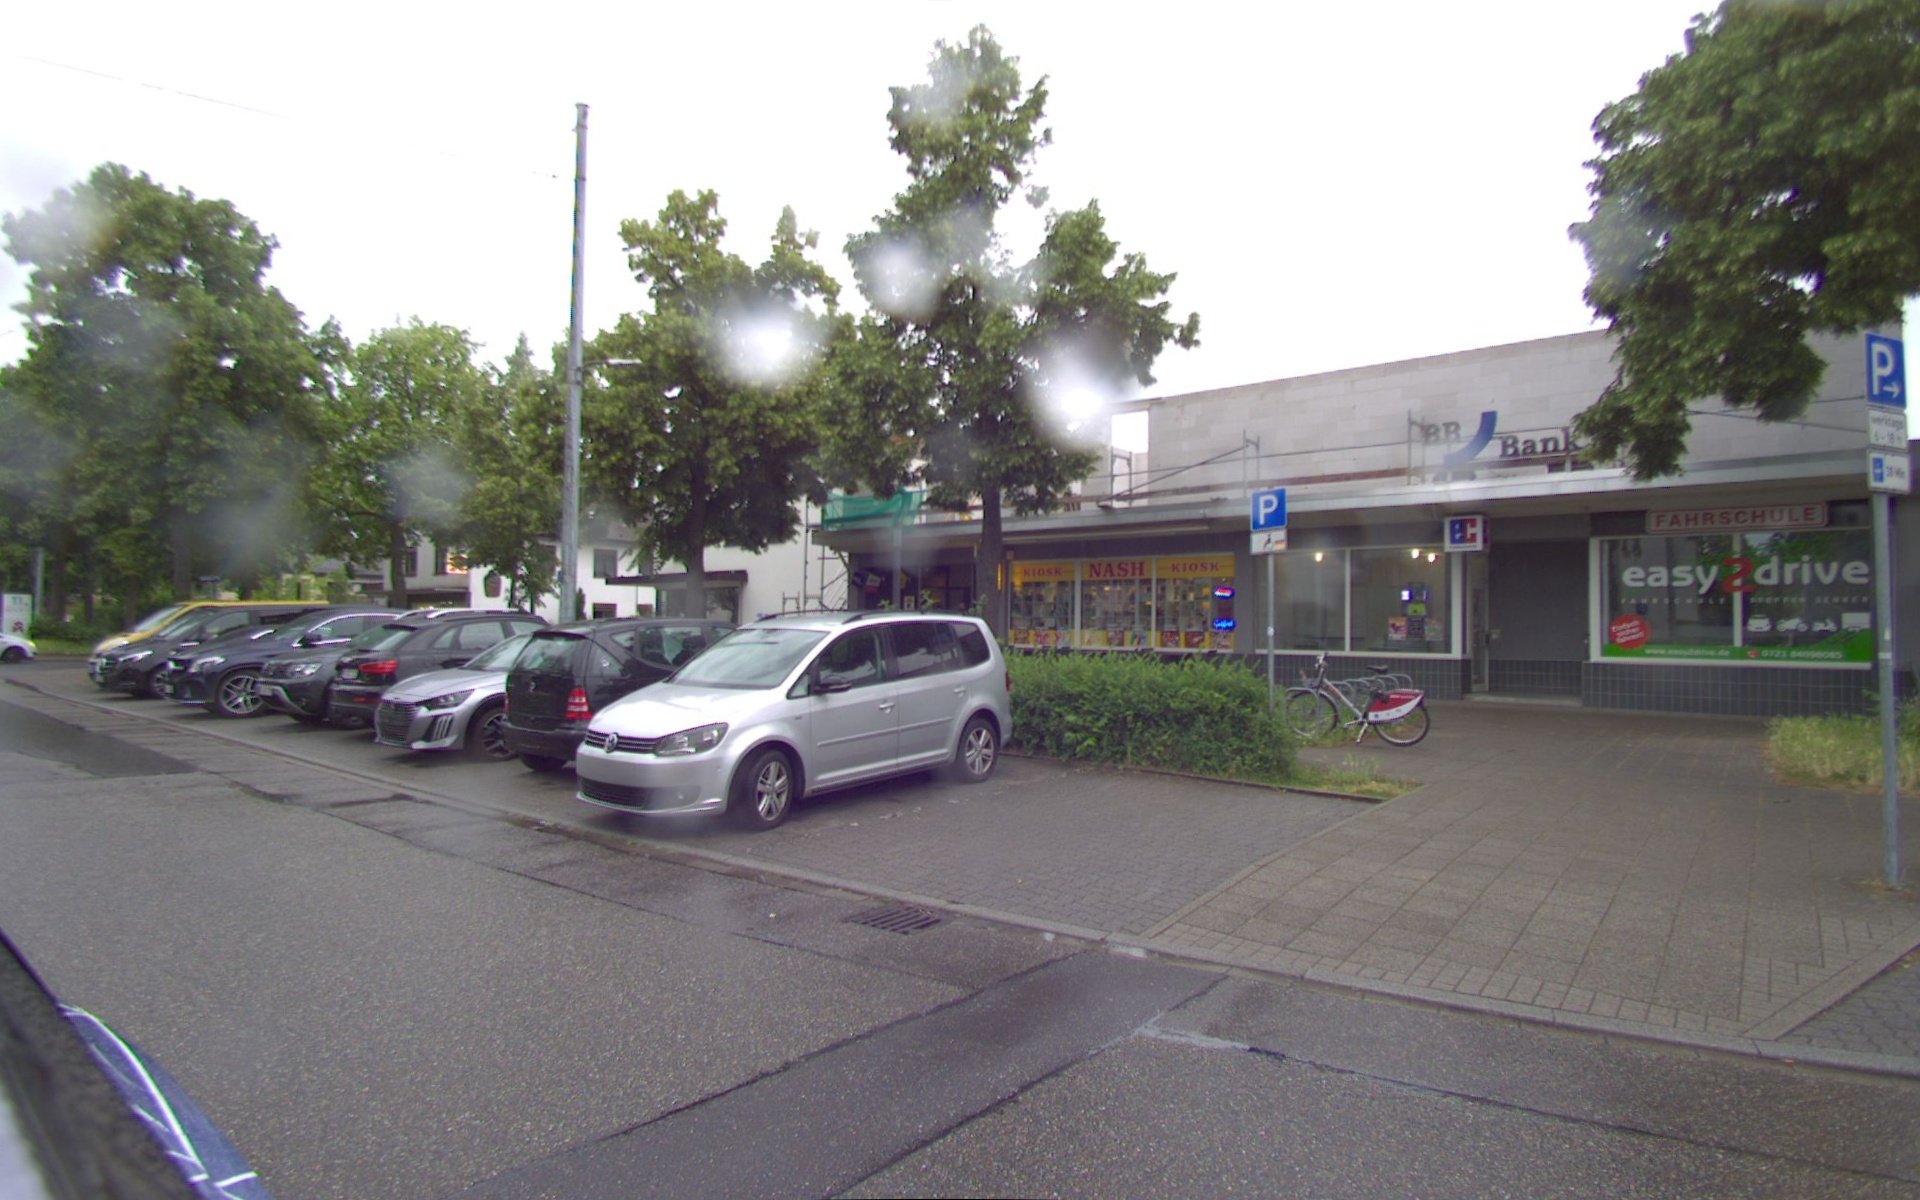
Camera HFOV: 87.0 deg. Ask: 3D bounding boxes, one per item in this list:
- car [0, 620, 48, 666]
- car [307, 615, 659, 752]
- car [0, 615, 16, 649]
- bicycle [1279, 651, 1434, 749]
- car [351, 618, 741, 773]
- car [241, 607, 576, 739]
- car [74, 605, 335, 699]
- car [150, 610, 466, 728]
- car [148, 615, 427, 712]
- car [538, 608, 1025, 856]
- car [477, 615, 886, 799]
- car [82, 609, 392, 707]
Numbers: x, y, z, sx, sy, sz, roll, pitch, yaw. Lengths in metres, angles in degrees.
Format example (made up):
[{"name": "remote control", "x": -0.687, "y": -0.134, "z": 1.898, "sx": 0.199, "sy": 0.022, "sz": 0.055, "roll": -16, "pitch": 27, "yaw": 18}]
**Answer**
[{"name": "car", "x": -32.742, "y": 1.438, "z": 32.865, "sx": 1.989, "sy": 1.465, "sz": 4.220, "roll": -1, "pitch": 0, "yaw": 26}, {"name": "car", "x": -6.565, "y": 1.028, "z": 14.351, "sx": 1.713, "sy": 1.607, "sz": 4.231, "roll": -1, "pitch": -1, "yaw": 38}, {"name": "car", "x": -49.754, "y": 1.651, "z": 50.271, "sx": 1.997, "sy": 1.698, "sz": 3.950, "roll": -1, "pitch": 0, "yaw": 37}, {"name": "bicycle", "x": 4.818, "y": 1.197, "z": 12.349, "sx": 1.739, "sy": 1.115, "sz": 0.316, "roll": -1, "pitch": 0, "yaw": 25}, {"name": "car", "x": -4.940, "y": 1.020, "z": 12.614, "sx": 1.713, "sy": 1.544, "sz": 4.231, "roll": -1, "pitch": -1, "yaw": 38}, {"name": "car", "x": -8.335, "y": 0.985, "z": 15.647, "sx": 1.713, "sy": 1.740, "sz": 4.231, "roll": -1, "pitch": -1, "yaw": 38}, {"name": "car", "x": -17.438, "y": 1.111, "z": 23.571, "sx": 1.713, "sy": 1.973, "sz": 4.600, "roll": -1, "pitch": -1, "yaw": 38}, {"name": "car", "x": -10.966, "y": 1.046, "z": 17.296, "sx": 1.713, "sy": 1.740, "sz": 4.231, "roll": -1, "pitch": -1, "yaw": 38}, {"name": "car", "x": -12.974, "y": 1.138, "z": 19.751, "sx": 1.713, "sy": 1.639, "sz": 4.231, "roll": -1, "pitch": -1, "yaw": 38}, {"name": "car", "x": -1.315, "y": 0.905, "z": 9.003, "sx": 1.713, "sy": 1.647, "sz": 4.231, "roll": -1, "pitch": -1, "yaw": 38}, {"name": "car", "x": -2.833, "y": 0.976, "z": 11.147, "sx": 1.633, "sy": 1.577, "sz": 4.231, "roll": -1, "pitch": 0, "yaw": 38}, {"name": "car", "x": -15.138, "y": 1.116, "z": 21.511, "sx": 1.713, "sy": 1.813, "sz": 5.114, "roll": -1, "pitch": -1, "yaw": 38}]
